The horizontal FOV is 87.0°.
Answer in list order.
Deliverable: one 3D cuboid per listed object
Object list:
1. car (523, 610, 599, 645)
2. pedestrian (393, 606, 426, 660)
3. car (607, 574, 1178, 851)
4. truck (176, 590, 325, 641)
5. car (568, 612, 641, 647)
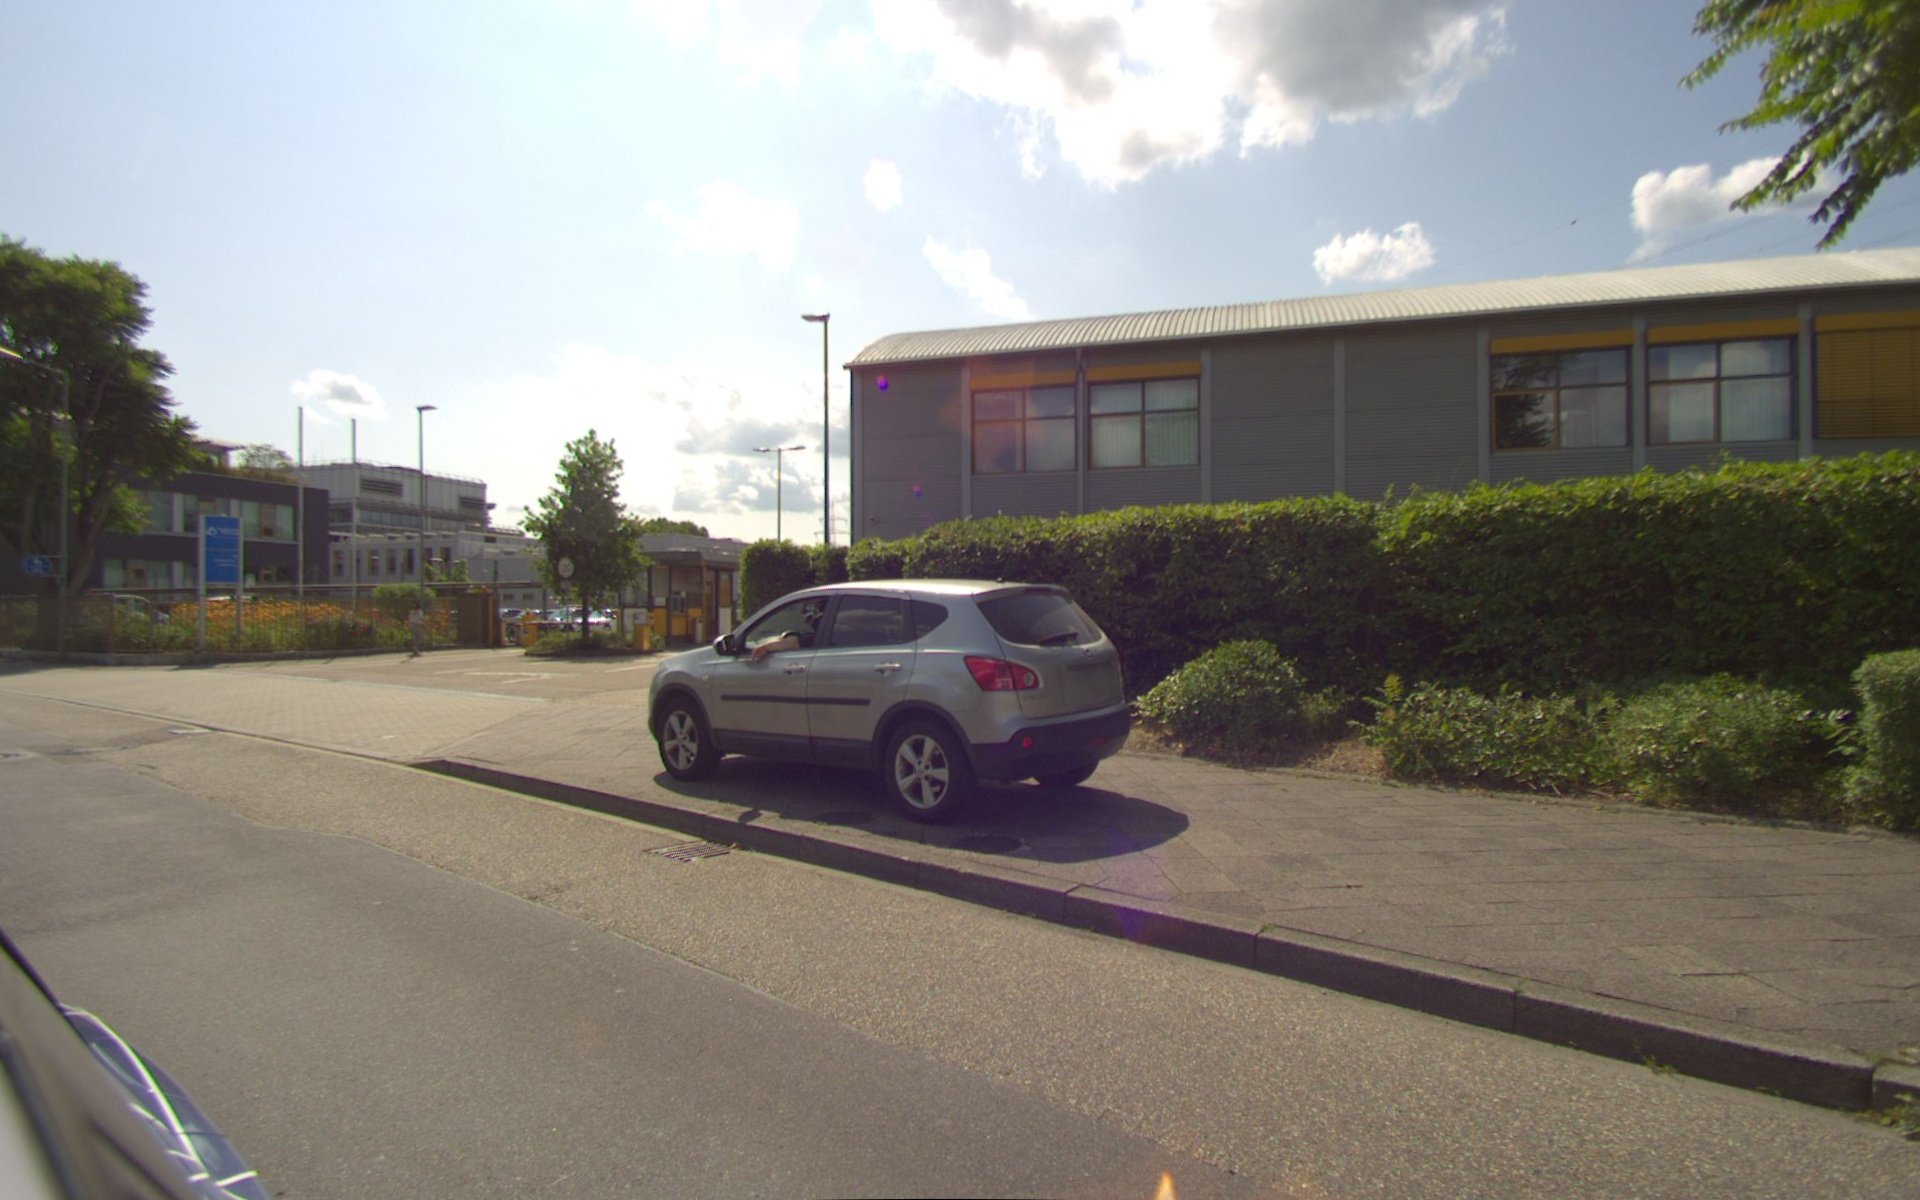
[{"bbox_3d":[-21.726,1.459,55.250,1.743,1.739,4.053,-1,1,15],"label":"car"},{"bbox_3d":[-17.939,1.065,32.974,0.727,1.704,0.547,2,0,15],"label":"pedestrian"},{"bbox_3d":[-0.738,0.657,7.893,4.473,1.586,1.740,-1,0,40],"label":"car"},{"bbox_3d":[-39.614,0.875,56.817,2.384,2.678,6.897,-1,-1,16],"label":"truck"},{"bbox_3d":[-19.193,1.576,54.806,1.743,1.739,4.053,-1,1,15],"label":"car"}]
